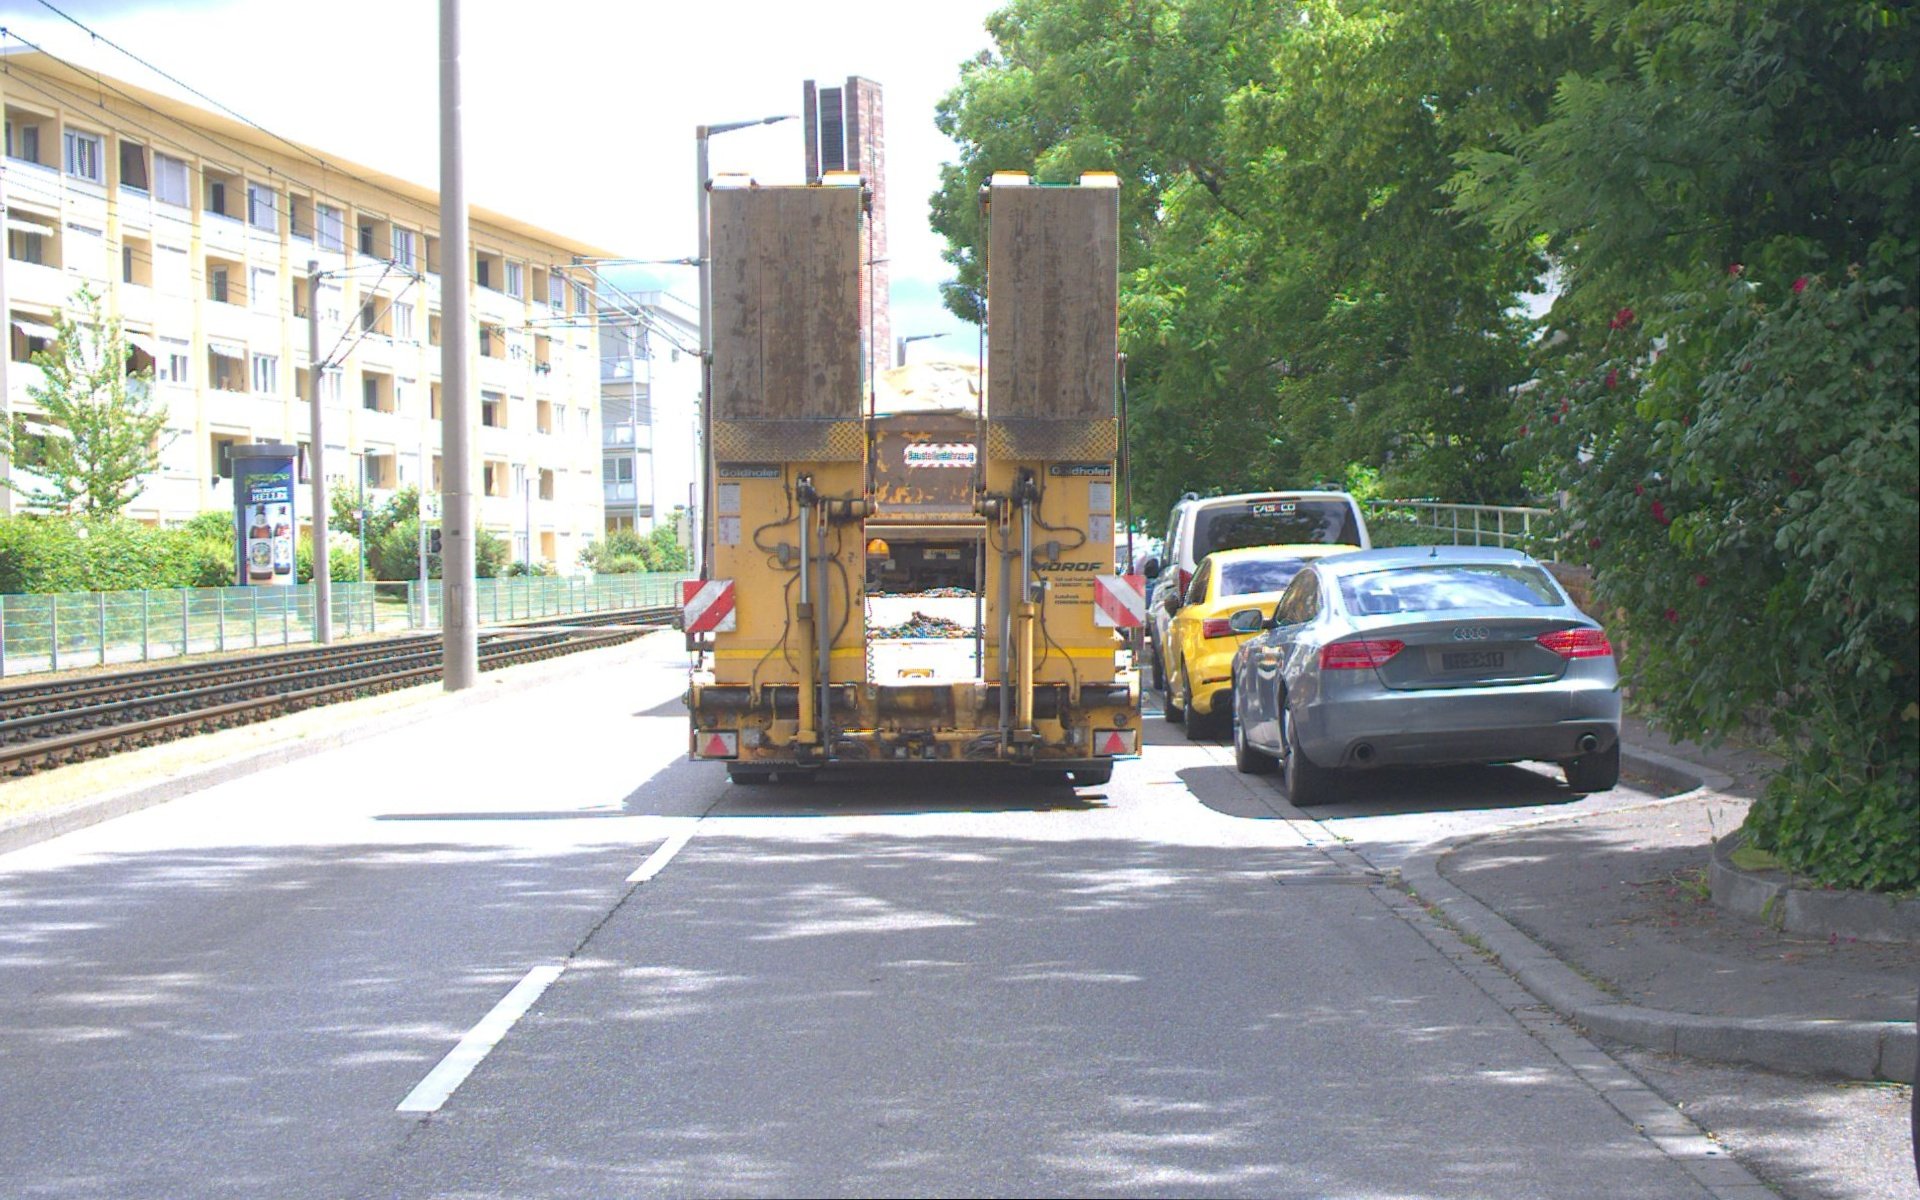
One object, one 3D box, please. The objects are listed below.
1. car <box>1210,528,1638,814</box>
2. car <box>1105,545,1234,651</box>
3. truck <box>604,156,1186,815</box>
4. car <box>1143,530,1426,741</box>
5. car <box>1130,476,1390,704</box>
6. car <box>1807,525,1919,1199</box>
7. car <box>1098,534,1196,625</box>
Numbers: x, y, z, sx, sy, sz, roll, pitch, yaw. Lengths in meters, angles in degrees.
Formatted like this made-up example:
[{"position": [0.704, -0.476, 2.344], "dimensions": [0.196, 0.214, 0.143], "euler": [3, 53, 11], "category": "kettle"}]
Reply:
[{"position": [2.596, 0.341, 20.244], "dimensions": [1.755, 1.437, 4.494], "euler": [-2, 1, -2], "category": "car"}, {"position": [3.092, -0.050, 51.298], "dimensions": [1.608, 1.451, 3.676], "euler": [-3, 1, -1], "category": "car"}, {"position": [-0.470, -0.724, 24.990], "dimensions": [3.124, 3.552, 12.460], "euler": [-1, 1, -1], "category": "truck"}, {"position": [2.441, 0.224, 26.797], "dimensions": [1.755, 1.437, 4.341], "euler": [-3, 1, 0], "category": "car"}, {"position": [2.797, -0.127, 33.323], "dimensions": [1.914, 1.952, 5.745], "euler": [-2, 1, 0], "category": "car"}, {"position": [2.799, 0.595, 5.226], "dimensions": [1.834, 1.500, 4.243], "euler": [-2, 1, -1], "category": "car"}, {"position": [3.707, -0.427, 67.599], "dimensions": [1.824, 1.676, 4.575], "euler": [-2, 1, 4], "category": "car"}]
